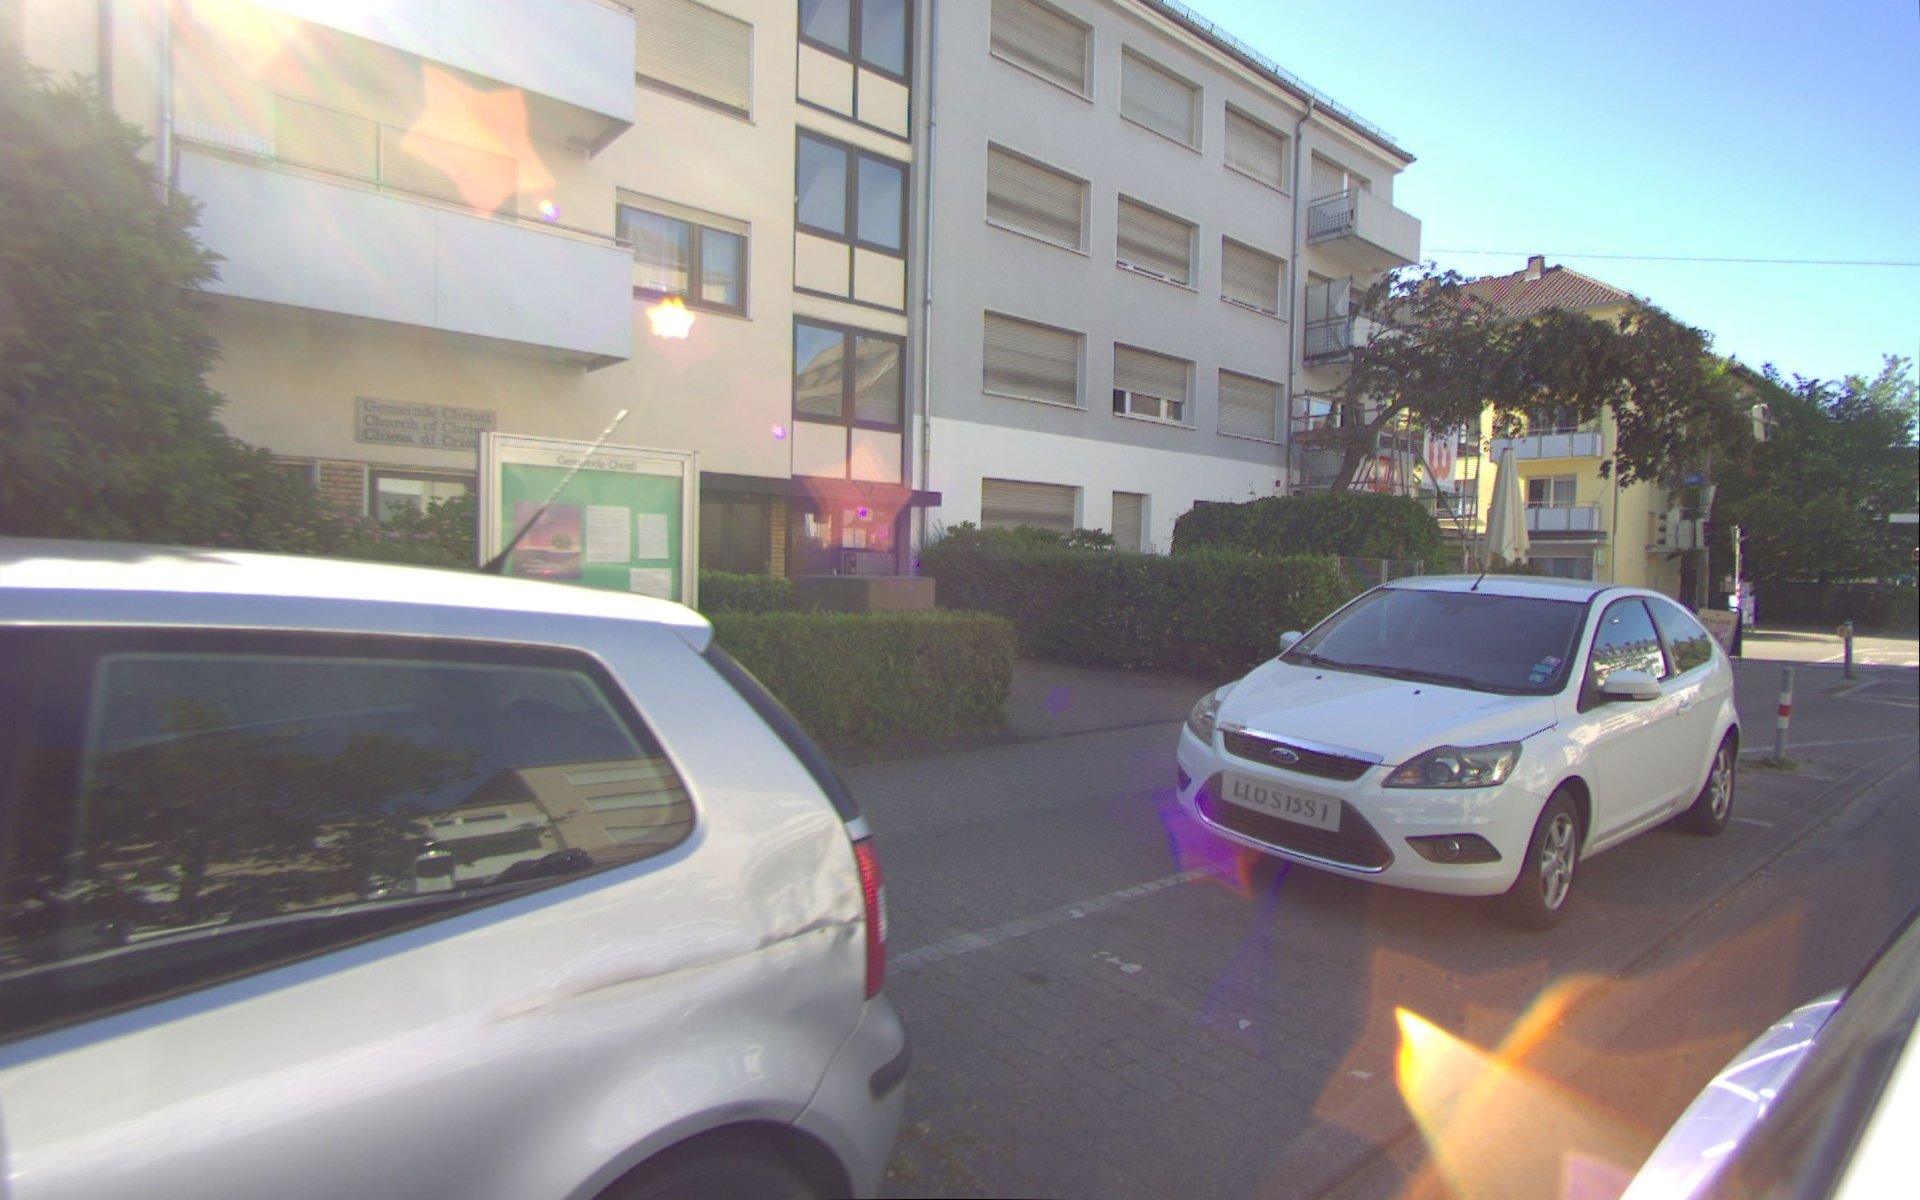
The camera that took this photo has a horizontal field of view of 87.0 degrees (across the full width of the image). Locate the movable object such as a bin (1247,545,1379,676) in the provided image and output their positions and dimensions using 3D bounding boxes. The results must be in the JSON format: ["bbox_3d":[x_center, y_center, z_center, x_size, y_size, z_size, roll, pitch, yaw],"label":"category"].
[{"bbox_3d":[4.056,0.088,11.651,1.138,1.371,0.831,6,4,41],"label":"movable object such as a bin"}]

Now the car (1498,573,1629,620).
[{"bbox_3d":[21.083,-0.159,35.452,1.455,1.500,3.644,0,3,-39],"label":"car"}]

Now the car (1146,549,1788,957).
[{"bbox_3d":[3.103,0.536,5.802,4.121,1.500,1.744,0,4,-40],"label":"car"}]

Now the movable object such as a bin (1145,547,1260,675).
[{"bbox_3d":[3.048,0.111,12.742,1.086,1.491,0.831,4,3,41],"label":"movable object such as a bin"}]

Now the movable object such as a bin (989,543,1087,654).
[{"bbox_3d":[1.135,-0.044,14.700,1.086,1.509,0.831,4,3,41],"label":"movable object such as a bin"}]

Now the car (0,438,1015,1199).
[{"bbox_3d":[-1.884,0.543,1.144,3.796,1.474,1.571,0,4,-39],"label":"car"}]
